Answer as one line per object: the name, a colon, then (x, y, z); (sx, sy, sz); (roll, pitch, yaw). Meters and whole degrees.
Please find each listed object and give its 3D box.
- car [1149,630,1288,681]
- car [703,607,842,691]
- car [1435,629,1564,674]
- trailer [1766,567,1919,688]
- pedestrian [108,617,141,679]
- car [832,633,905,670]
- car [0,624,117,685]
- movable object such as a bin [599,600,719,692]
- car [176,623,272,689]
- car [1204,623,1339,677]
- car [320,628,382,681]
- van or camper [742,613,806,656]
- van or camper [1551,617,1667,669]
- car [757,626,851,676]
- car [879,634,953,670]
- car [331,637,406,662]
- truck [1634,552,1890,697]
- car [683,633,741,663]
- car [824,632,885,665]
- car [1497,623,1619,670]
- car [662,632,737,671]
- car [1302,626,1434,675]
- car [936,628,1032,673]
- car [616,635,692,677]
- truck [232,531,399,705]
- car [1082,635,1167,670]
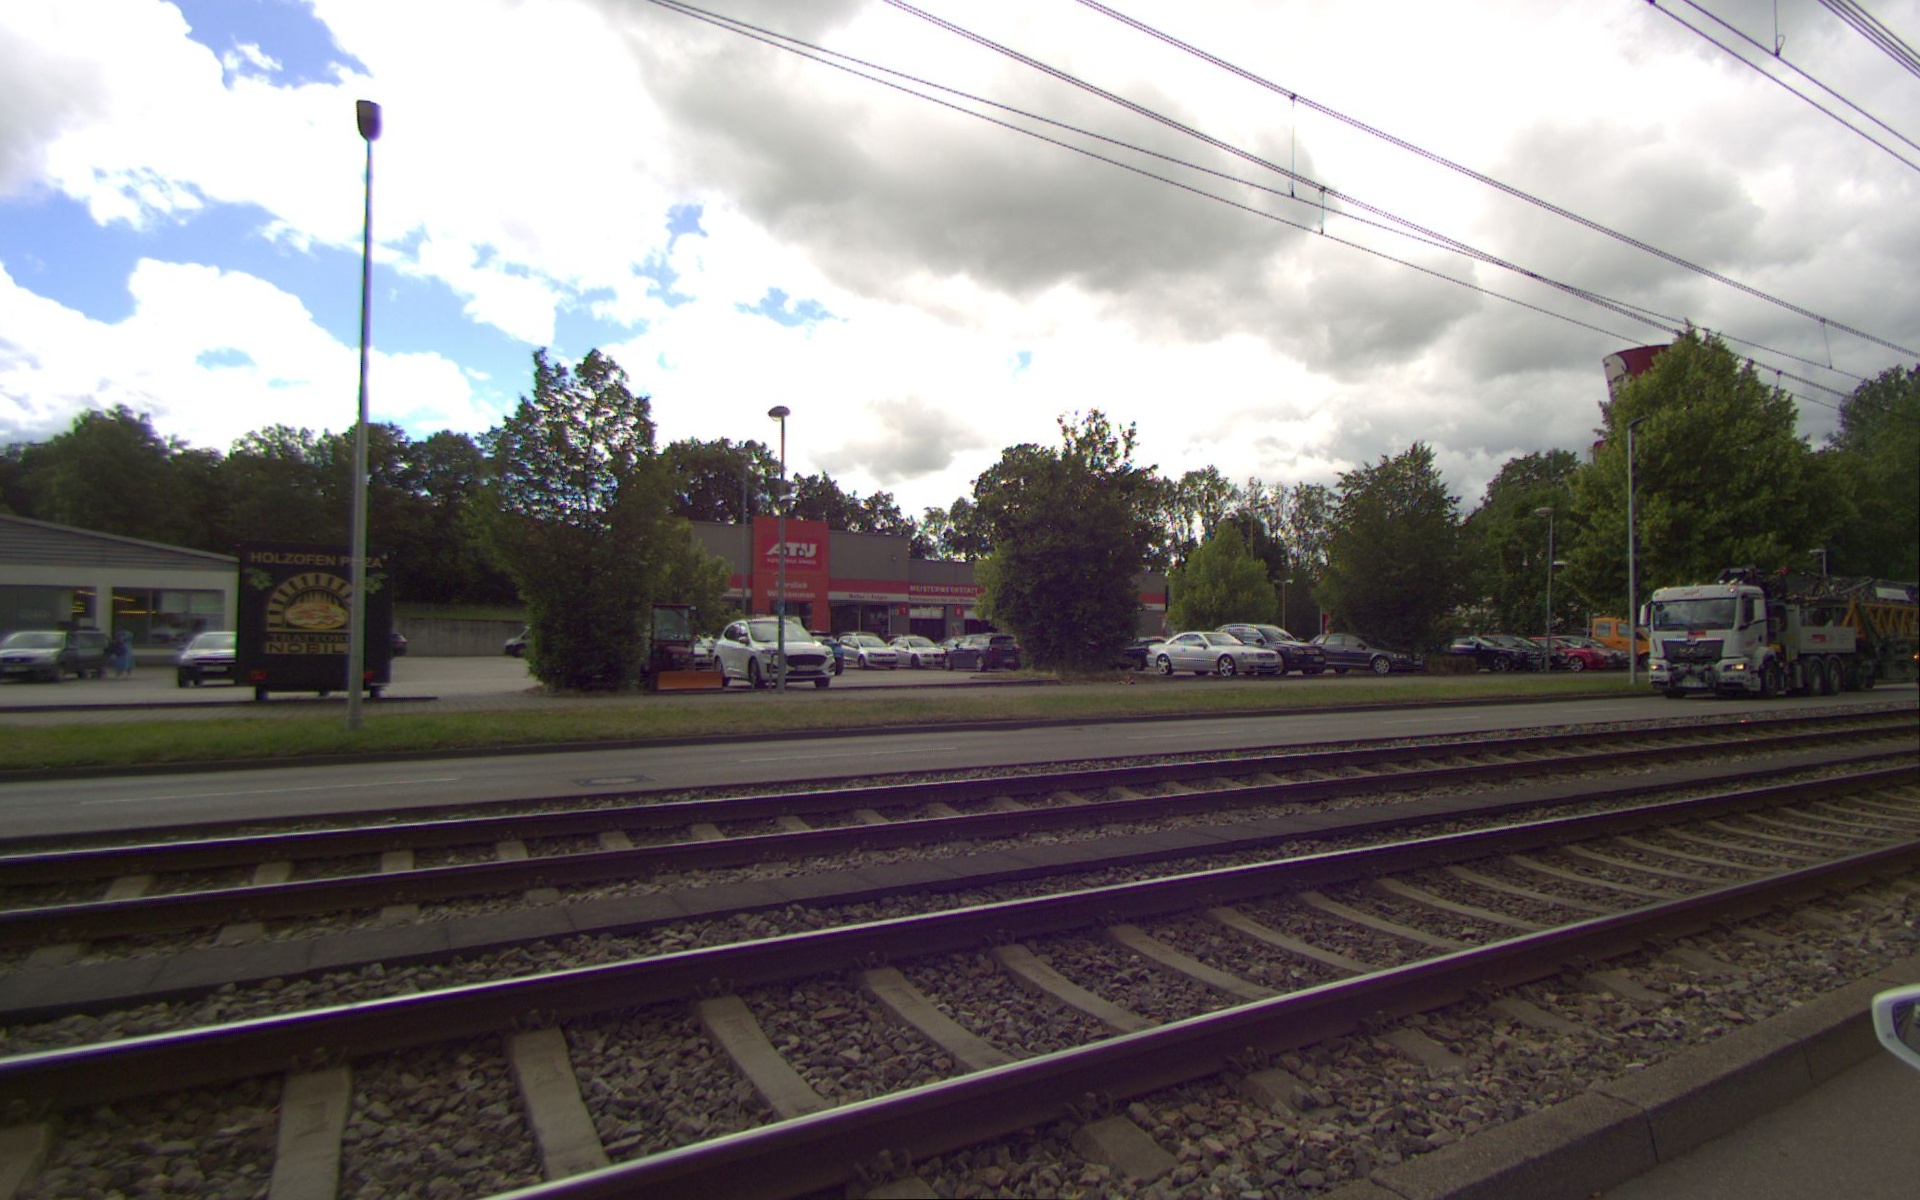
car: (7.992, 1.684, 31.465); (1.662, 1.491, 4.284); (1, -2, -32)
car: (-4.555, 1.142, 23.990); (1.859, 1.821, 3.963); (1, -2, -34)
car: (20.681, 1.963, 38.655); (1.859, 1.620, 3.963); (1, -2, -34)
trailer: (32.875, 1.037, 35.716); (13.158, 3.708, 2.689); (2, -2, -34)
pedestrian: (-25.901, 1.484, 31.138); (0.656, 1.879, 0.542); (1, -2, -30)
car: (-4.029, 2.225, 43.774); (1.663, 1.527, 3.934); (1, -3, -31)
car: (-26.883, 1.577, 29.612); (2.438, 1.661, 3.903); (1, -3, -30)
movable object such as a bin: (-7.150, 1.070, 23.619); (1.661, 1.962, 3.964); (1, -3, -33)
car: (-20.081, 1.499, 27.547); (1.668, 1.661, 3.903); (1, -3, -30)
car: (10.164, 1.604, 33.003); (1.859, 1.656, 3.963); (1, -2, -34)
car: (-20.403, 1.800, 33.777); (1.668, 1.661, 3.903); (1, -3, -30)
van or camper: (-9.916, 1.854, 53.365); (1.803, 2.173, 4.235); (1, -3, -34)
van or camper: (28.824, 1.876, 44.712); (1.859, 2.163, 3.962); (1, -1, -34)
car: (-5.717, 1.817, 36.380); (1.917, 1.706, 4.265); (1, -3, -31)
car: (-2.015, 2.298, 44.613); (1.663, 1.527, 3.934); (1, -3, -31)
car: (-32.761, 2.726, 55.725); (3.547, 1.352, 1.464); (1, -2, -30)
truck: (24.144, 0.792, 29.939); (10.994, 3.712, 2.691); (2, -2, -33)
car: (-12.884, 2.444, 52.021); (1.664, 1.491, 3.716); (2, -3, -36)
car: (-5.975, 2.699, 56.528); (1.803, 1.762, 3.962); (1, -3, -34)
car: (24.878, 1.893, 41.900); (1.859, 1.821, 3.962); (1, -1, -34)
car: (-10.434, 2.035, 40.117); (1.664, 1.491, 3.716); (2, -3, -36)
car: (14.353, 1.757, 35.535); (1.859, 1.620, 3.963); (1, -2, -34)
car: (0.908, 1.997, 40.372); (1.917, 1.706, 4.265); (1, -3, -31)
car: (-11.742, 2.106, 38.431); (1.664, 1.491, 3.716); (2, -3, -36)
truck: (-11.996, 0.386, 18.826); (2.350, 2.859, 3.966); (1, -2, -32)
car: (7.334, 2.330, 45.057); (1.663, 1.527, 3.934); (1, -3, -31)
